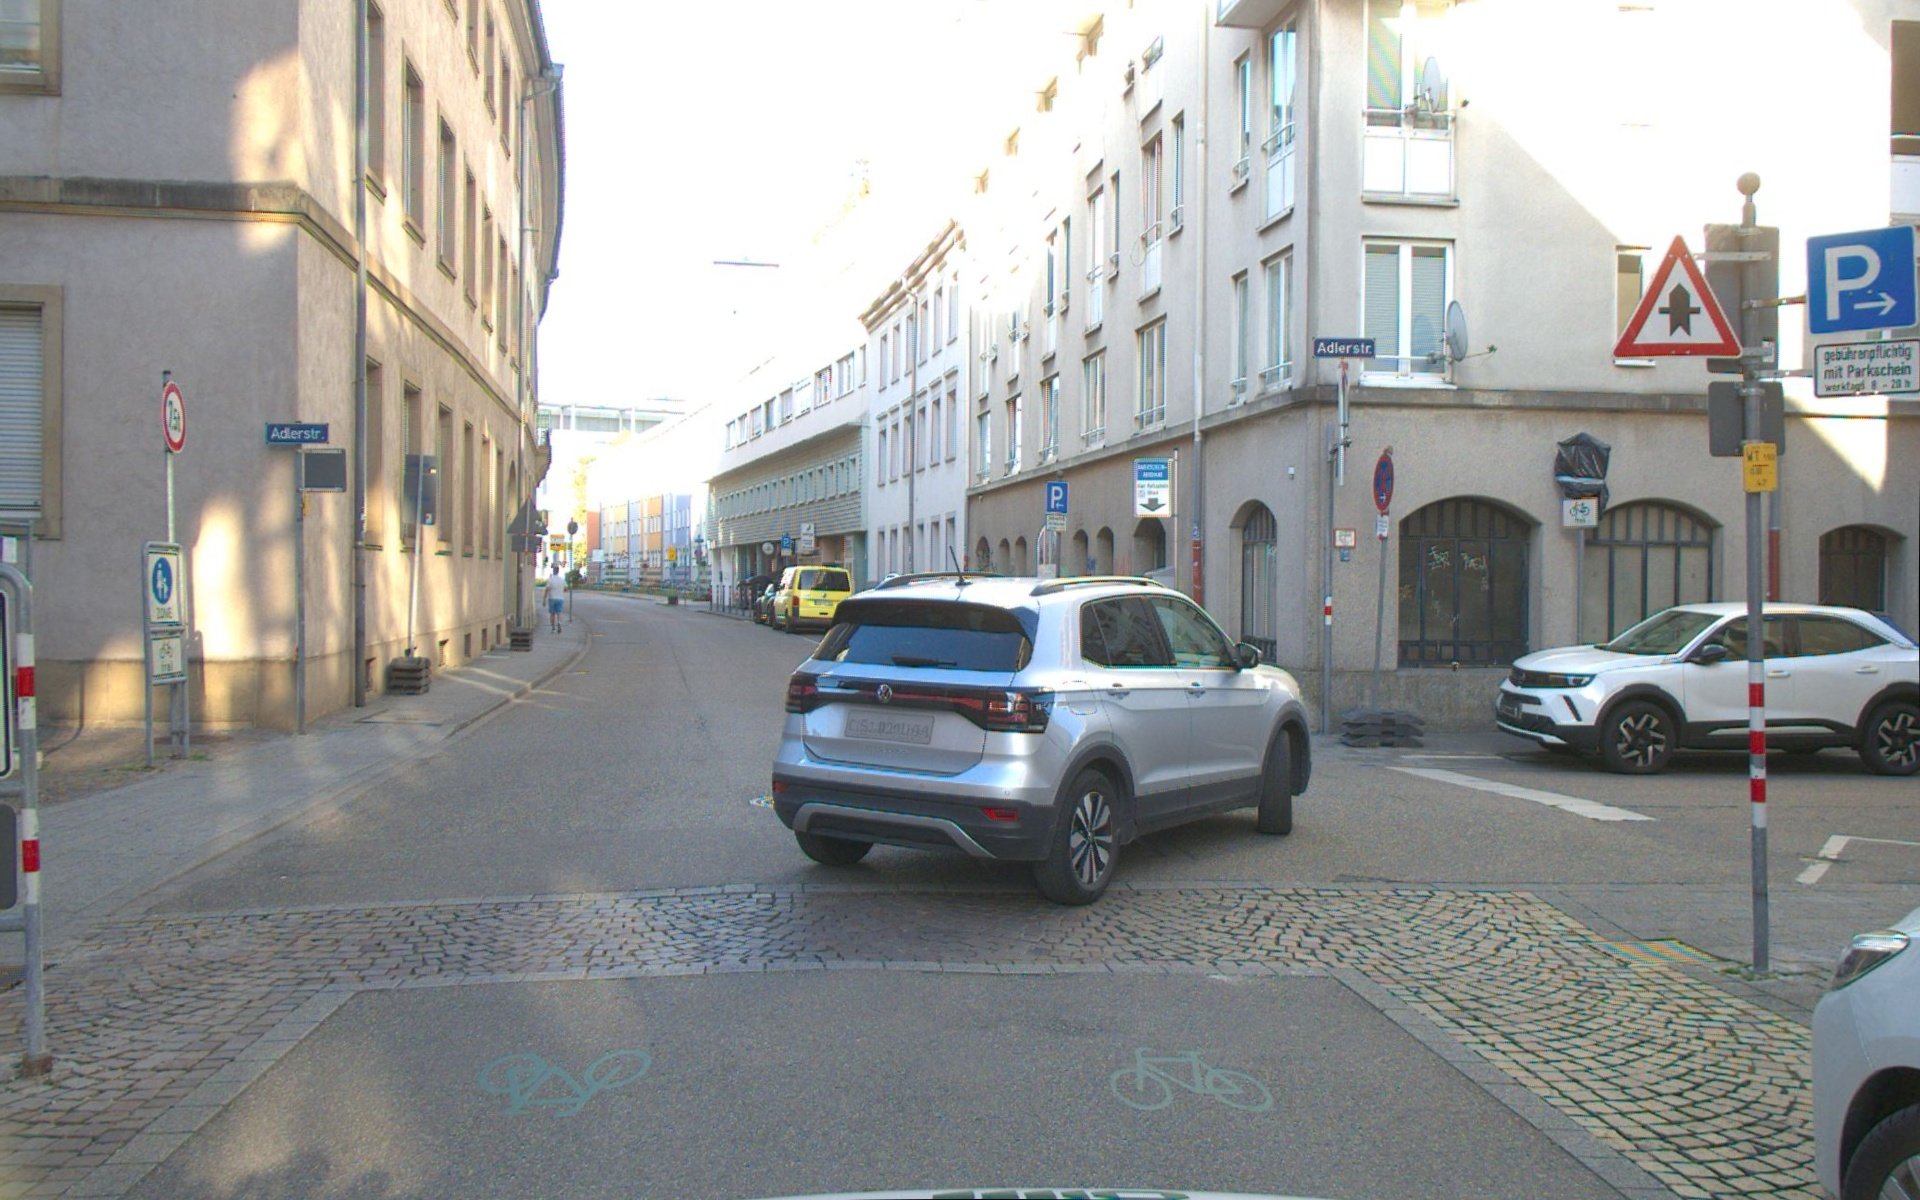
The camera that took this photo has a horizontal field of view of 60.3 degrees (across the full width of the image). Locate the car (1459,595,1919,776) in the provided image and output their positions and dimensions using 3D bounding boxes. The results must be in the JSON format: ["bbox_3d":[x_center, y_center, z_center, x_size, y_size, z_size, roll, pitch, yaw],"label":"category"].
[{"bbox_3d":[7.229,0.792,16.083,4.132,1.580,1.900,1,1,-4],"label":"car"}]

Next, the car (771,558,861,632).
[{"bbox_3d":[-4.269,-0.168,48.461,2.018,2.049,4.160,0,1,-14],"label":"car"}]

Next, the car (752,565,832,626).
[{"bbox_3d":[-5.545,-0.179,54.195,2.018,1.905,4.085,0,1,-14],"label":"car"}]

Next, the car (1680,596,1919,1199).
[{"bbox_3d":[3.054,0.804,2.445,1.852,1.544,4.057,1,1,-7],"label":"car"}]

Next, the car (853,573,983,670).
[{"bbox_3d":[-0.889,0.359,32.136,1.932,1.721,4.092,2,1,-10],"label":"car"}]

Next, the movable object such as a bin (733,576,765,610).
[{"bbox_3d":[-9.482,-0.317,74.180,1.114,1.505,1.731,0,1,-18],"label":"movable object such as a bin"}]

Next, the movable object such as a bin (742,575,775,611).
[{"bbox_3d":[-8.847,-0.314,72.504,1.114,1.585,1.731,0,1,-18],"label":"movable object such as a bin"}]

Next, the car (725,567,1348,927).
[{"bbox_3d":[0.657,0.612,9.477,1.804,1.589,3.988,0,1,33],"label":"car"}]

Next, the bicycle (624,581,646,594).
[{"bbox_3d":[-26.759,-1.041,136.195,1.751,1.018,0.544,1,0,-16],"label":"bicycle"}]

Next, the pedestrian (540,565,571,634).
[{"bbox_3d":[-10.479,-0.021,42.870,0.753,1.754,0.684,1,0,-16],"label":"pedestrian"}]
